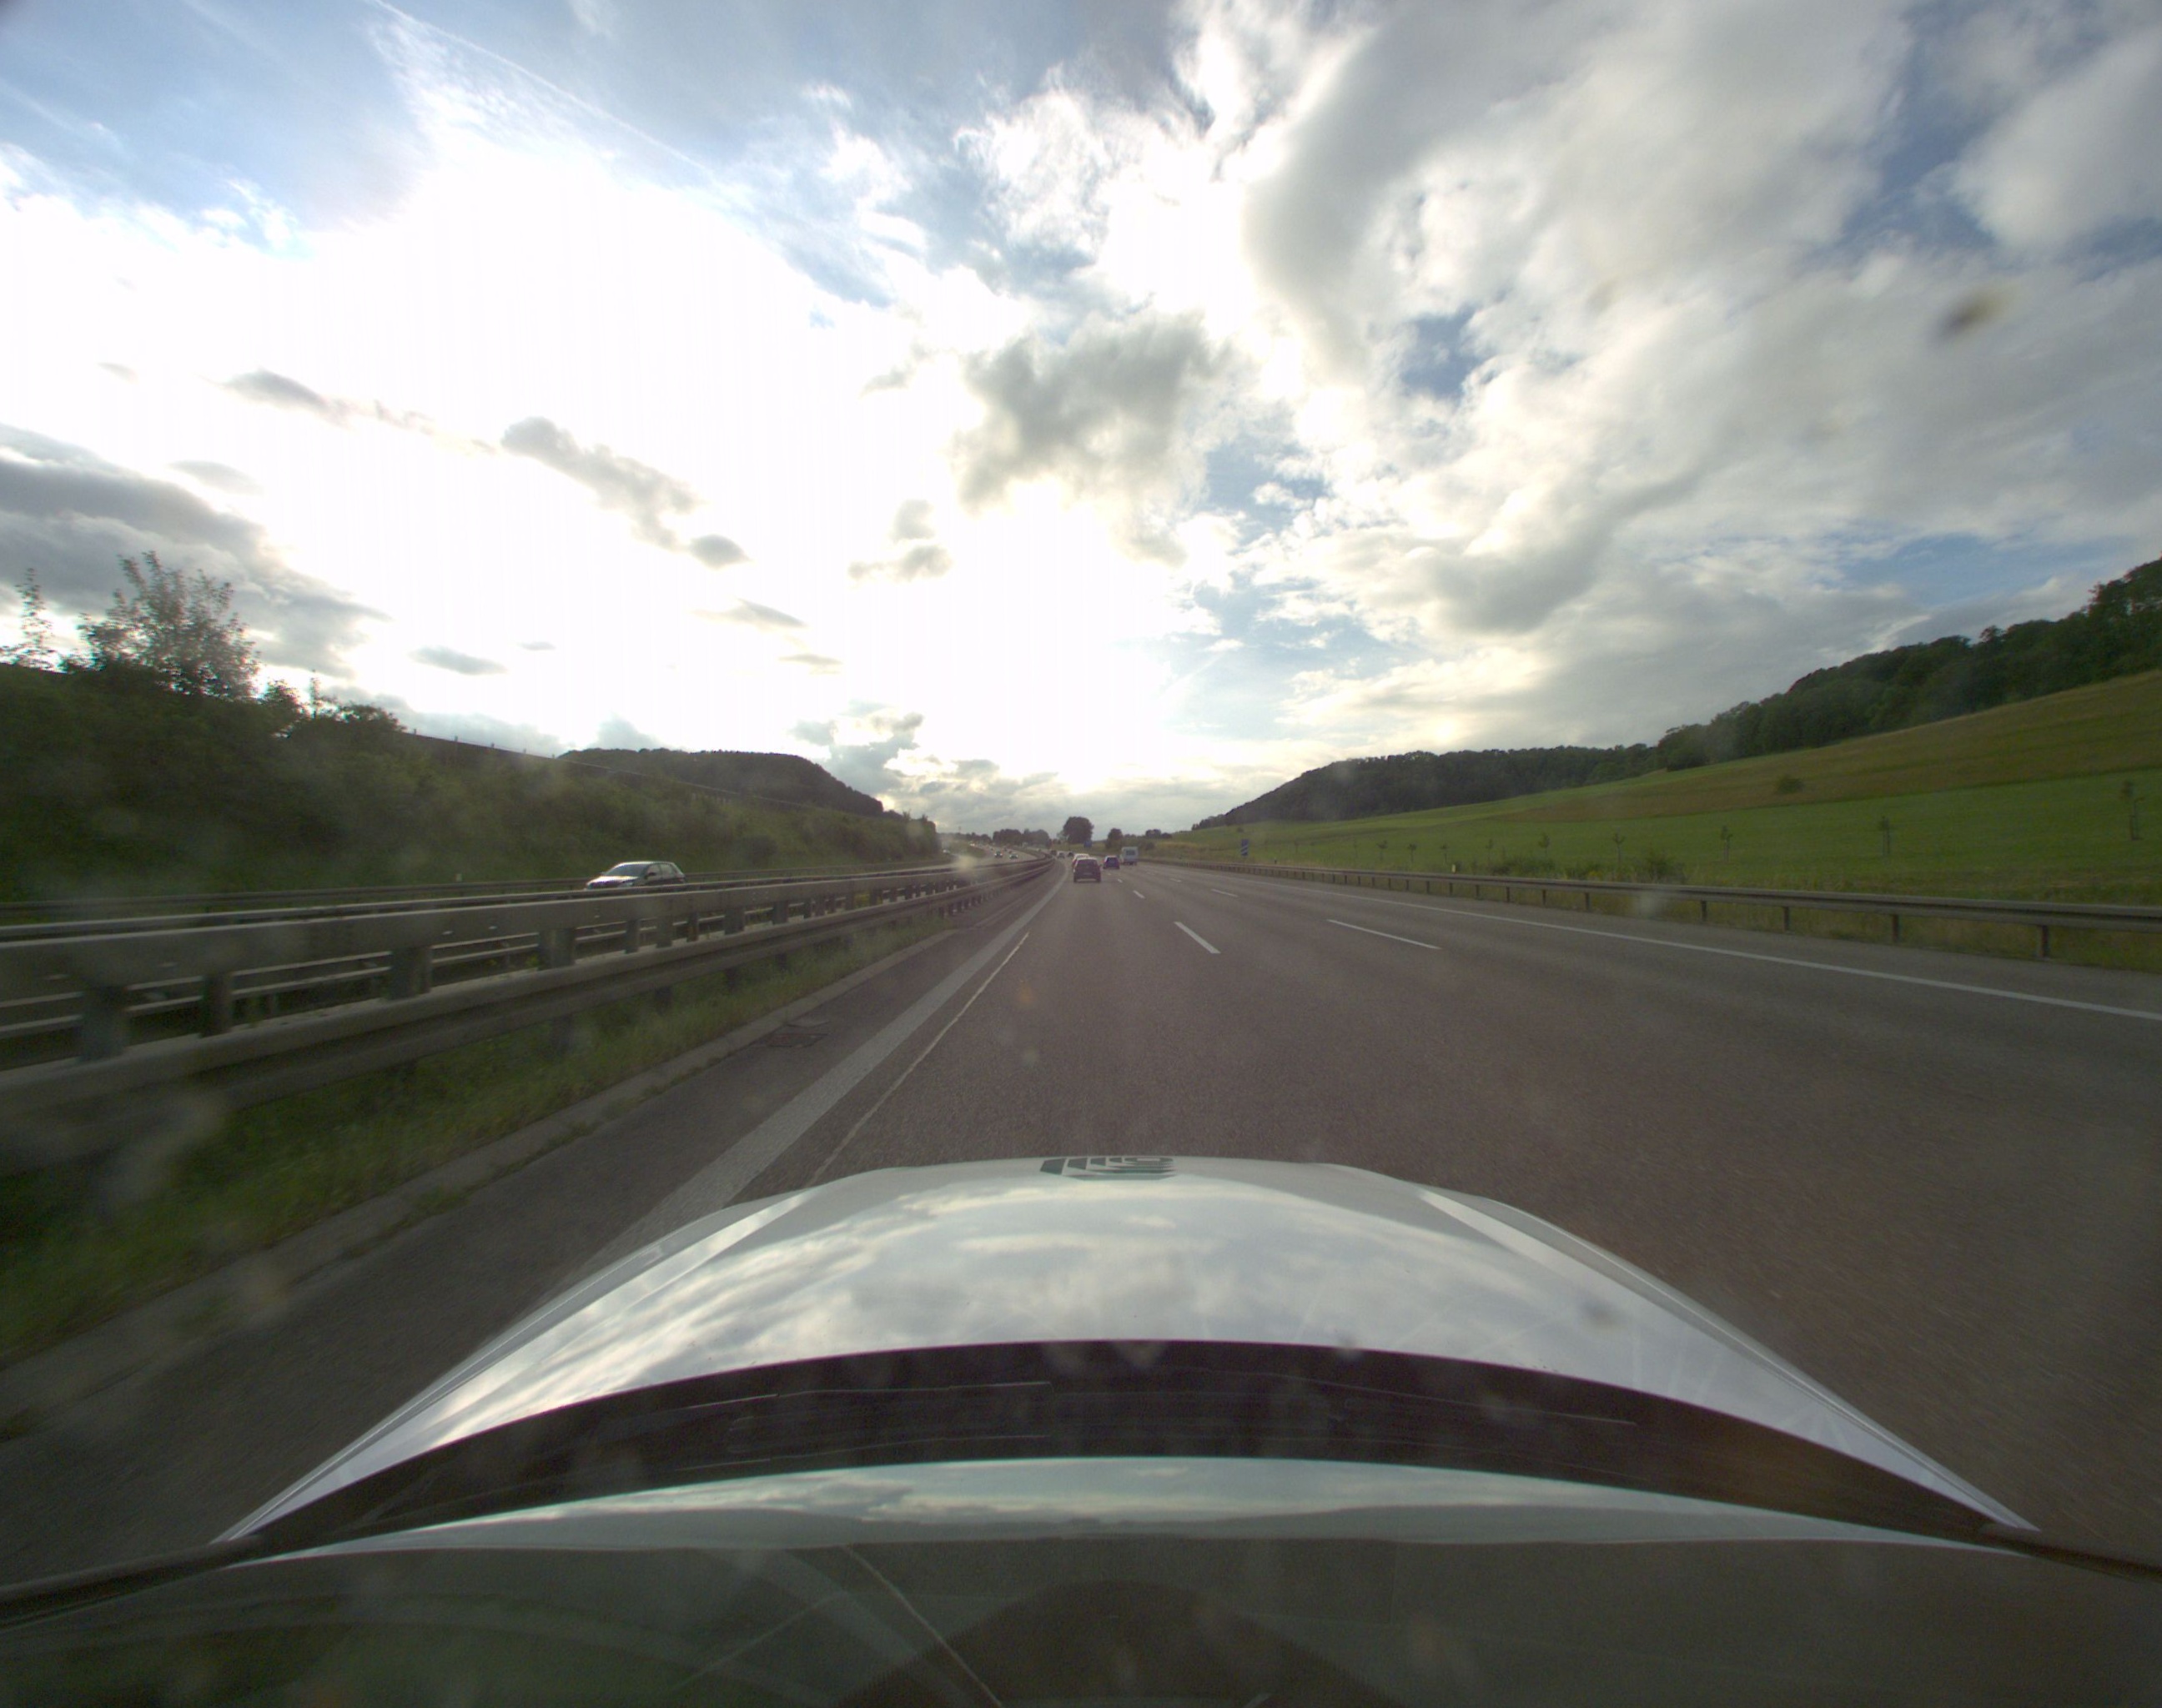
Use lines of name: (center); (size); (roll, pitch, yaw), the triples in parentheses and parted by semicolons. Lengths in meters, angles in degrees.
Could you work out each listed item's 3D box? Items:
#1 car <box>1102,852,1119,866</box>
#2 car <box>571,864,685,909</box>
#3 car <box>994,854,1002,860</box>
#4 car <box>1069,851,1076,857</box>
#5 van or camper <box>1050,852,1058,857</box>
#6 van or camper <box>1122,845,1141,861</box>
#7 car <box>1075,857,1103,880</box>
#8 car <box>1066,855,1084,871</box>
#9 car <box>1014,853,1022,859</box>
car: (3.291, 0.539, 91.259); (1.761, 1.433, 3.999); (4, -1, 0)
car: (-15.571, 1.076, 28.254); (1.701, 1.415, 3.999); (0, 0, 0)
car: (-21.920, 0.730, 214.939); (1.771, 1.596, 3.997); (0, 0, -2)
car: (-2.248, -0.049, 223.300); (1.951, 1.574, 3.999); (0, 0, 0)
van or camper: (-8.089, 0.052, 243.187); (1.958, 1.433, 4.002); (0, 0, 2)
van or camper: (7.191, -0.094, 116.583); (2.539, 2.239, 5.330); (-1, 0, 1)
car: (0.454, 0.855, 49.758); (1.534, 1.348, 3.675); (-1, 0, -1)
car: (-0.568, 0.837, 77.752); (1.559, 1.380, 4.002); (-1, 0, 2)
car: (-14.992, 0.537, 193.830); (1.989, 1.430, 4.581); (0, 0, -4)
